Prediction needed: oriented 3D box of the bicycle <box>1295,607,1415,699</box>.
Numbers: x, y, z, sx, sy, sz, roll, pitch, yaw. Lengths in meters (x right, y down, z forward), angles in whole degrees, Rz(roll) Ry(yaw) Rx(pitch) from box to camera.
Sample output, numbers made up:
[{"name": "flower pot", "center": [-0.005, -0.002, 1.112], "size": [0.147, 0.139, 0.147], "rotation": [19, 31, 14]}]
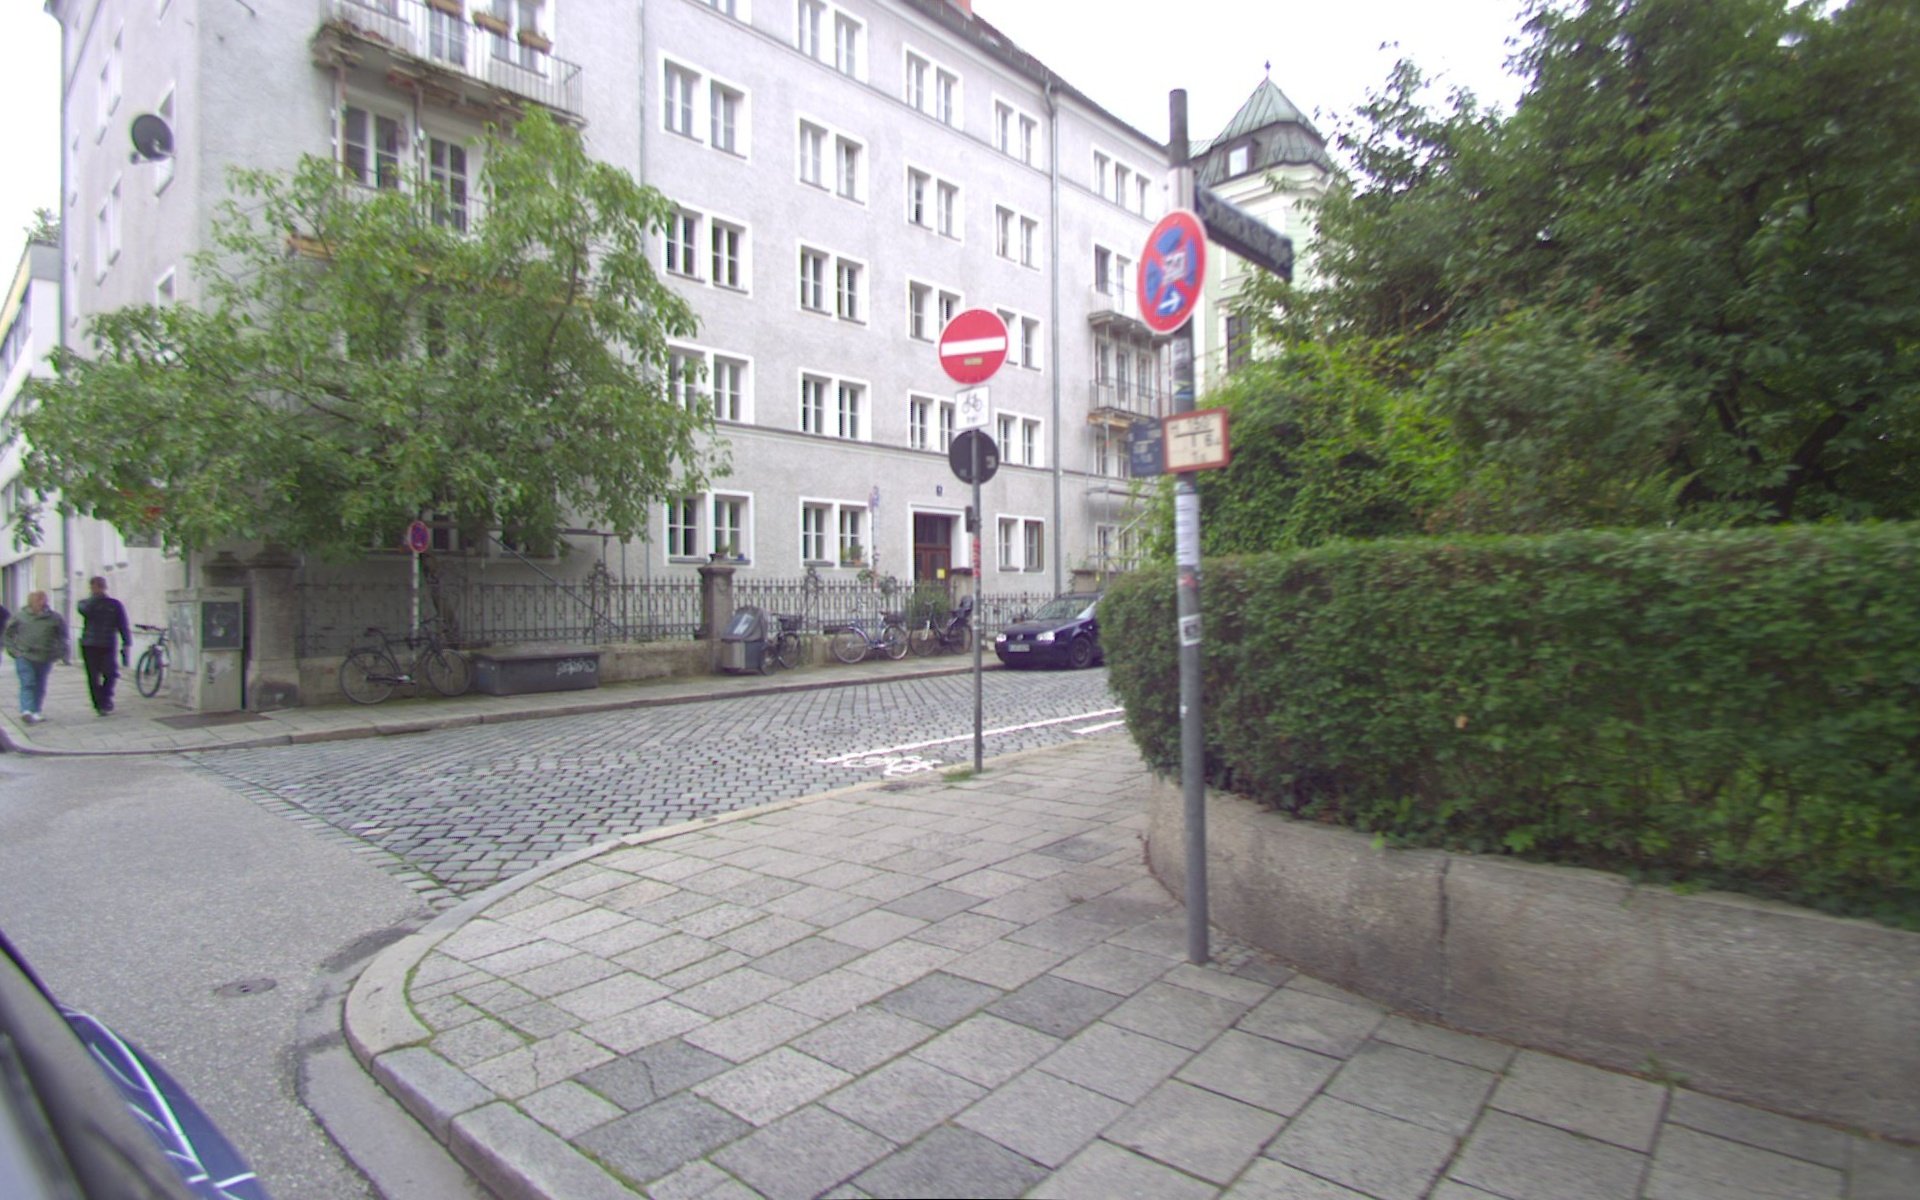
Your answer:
[{"name": "bicycle", "center": [5.075, 0.655, 12.971], "size": [1.749, 1.080, 0.349], "rotation": [-1, 0, -28]}]

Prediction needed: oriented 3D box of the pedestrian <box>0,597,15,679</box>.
[{"name": "pedestrian", "center": [-20.921, 0.827, 21.752], "size": [0.841, 1.740, 0.712], "rotation": [-1, 3, 43]}]

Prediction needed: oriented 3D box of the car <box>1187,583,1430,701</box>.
[{"name": "car", "center": [5.461, 0.515, 15.557], "size": [2.017, 1.533, 4.231], "rotation": [1, 2, 43]}]

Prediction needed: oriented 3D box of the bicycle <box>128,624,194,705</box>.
[{"name": "bicycle", "center": [-11.734, 0.913, 14.852], "size": [1.702, 1.103, 0.426], "rotation": [-1, 1, 41]}]

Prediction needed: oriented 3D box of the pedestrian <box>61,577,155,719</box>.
[{"name": "pedestrian", "center": [-11.090, 0.603, 13.178], "size": [0.739, 1.776, 0.684], "rotation": [-1, 2, 33]}]

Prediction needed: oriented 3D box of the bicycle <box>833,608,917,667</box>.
[{"name": "bicycle", "center": [-1.666, 0.721, 20.076], "size": [1.827, 1.112, 0.412], "rotation": [0, -1, -44]}]

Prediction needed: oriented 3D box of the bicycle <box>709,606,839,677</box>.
[{"name": "bicycle", "center": [-3.245, 0.698, 17.957], "size": [0.988, 1.165, 2.464], "rotation": [-1, -1, 27]}]

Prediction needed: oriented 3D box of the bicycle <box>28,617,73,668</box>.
[{"name": "bicycle", "center": [-22.130, 1.022, 24.614], "size": [1.495, 1.203, 0.445], "rotation": [-1, 1, 34]}]

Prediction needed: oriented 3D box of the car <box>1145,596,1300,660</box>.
[{"name": "car", "center": [6.278, 0.599, 23.934], "size": [1.845, 1.336, 4.055], "rotation": [-1, 0, 43]}]

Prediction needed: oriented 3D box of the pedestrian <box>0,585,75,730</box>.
[{"name": "pedestrian", "center": [-11.472, 0.677, 12.462], "size": [0.859, 1.690, 0.682], "rotation": [-1, 2, 41]}]

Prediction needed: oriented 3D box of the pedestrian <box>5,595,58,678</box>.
[{"name": "pedestrian", "center": [-20.437, 0.790, 22.273], "size": [0.841, 1.740, 0.686], "rotation": [-1, 3, 43]}]

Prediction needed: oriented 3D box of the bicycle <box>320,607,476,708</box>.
[{"name": "bicycle", "center": [-7.535, 0.734, 13.643], "size": [0.432, 1.270, 1.787], "rotation": [-1, 0, 41]}]

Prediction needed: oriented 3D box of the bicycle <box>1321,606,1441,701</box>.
[{"name": "bicycle", "center": [5.288, 0.645, 12.683], "size": [1.749, 1.080, 0.349], "rotation": [-1, 1, -28]}]

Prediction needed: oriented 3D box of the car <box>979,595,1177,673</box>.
[{"name": "car", "center": [2.416, 0.597, 19.995], "size": [1.845, 1.336, 4.055], "rotation": [-1, 0, 43]}]

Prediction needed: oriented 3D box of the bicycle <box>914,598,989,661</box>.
[{"name": "bicycle", "center": [-0.163, 0.609, 21.602], "size": [1.827, 1.283, 0.412], "rotation": [0, -1, -44]}]
